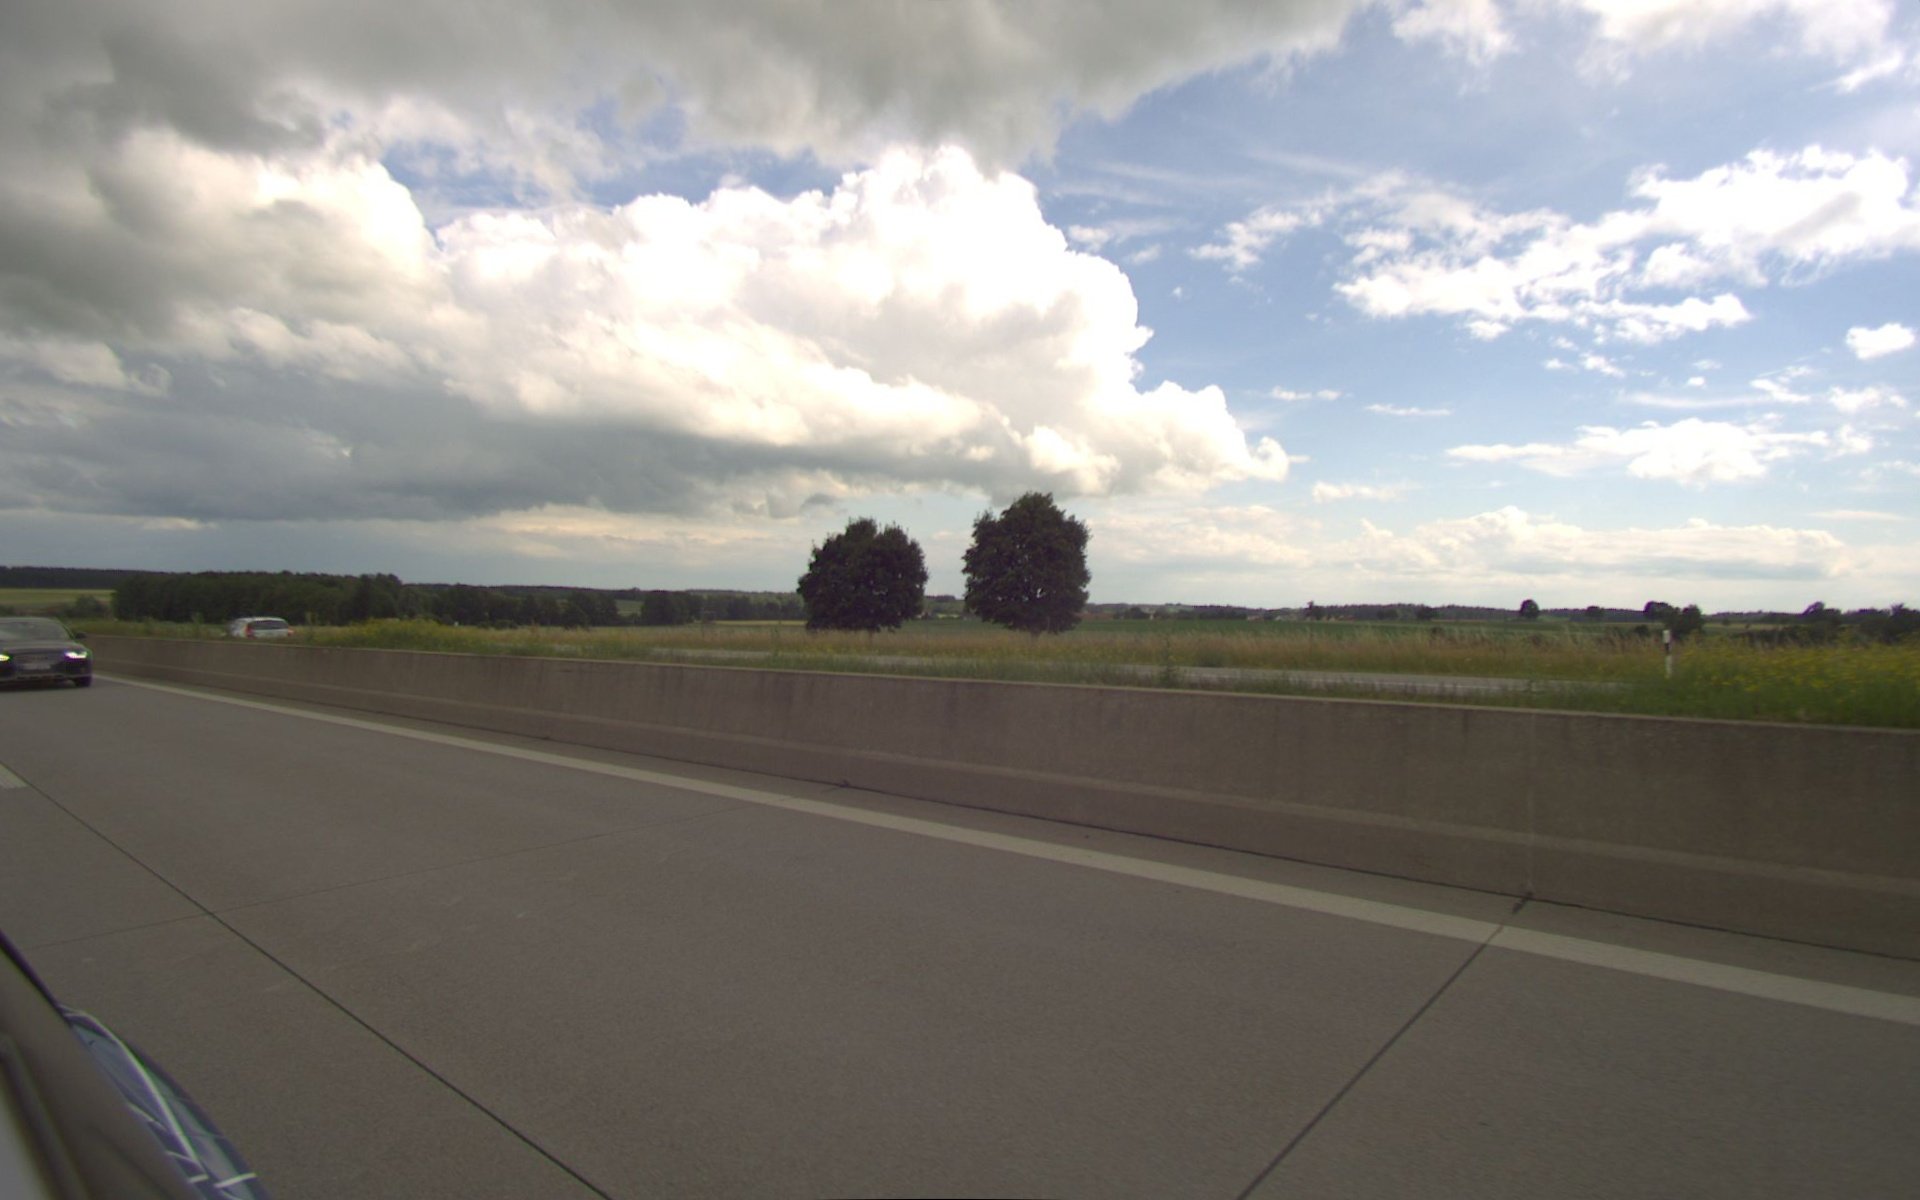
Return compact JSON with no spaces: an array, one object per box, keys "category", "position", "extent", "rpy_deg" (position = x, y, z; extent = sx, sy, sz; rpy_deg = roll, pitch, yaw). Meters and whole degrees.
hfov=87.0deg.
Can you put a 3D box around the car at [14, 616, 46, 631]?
[{"category":"car","position":[-101.074,2.530,109.973],"extent":[4.845,1.481,1.878],"rpy_deg":[0,0,40]}]

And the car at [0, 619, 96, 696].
[{"category":"car","position":[-19.763,1.160,21.307],"extent":[3.999,1.484,1.914],"rpy_deg":[-1,-1,42]}]

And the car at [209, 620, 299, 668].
[{"category":"car","position":[-26.950,1.617,38.578],"extent":[3.998,1.648,1.904],"rpy_deg":[0,0,41]}]
